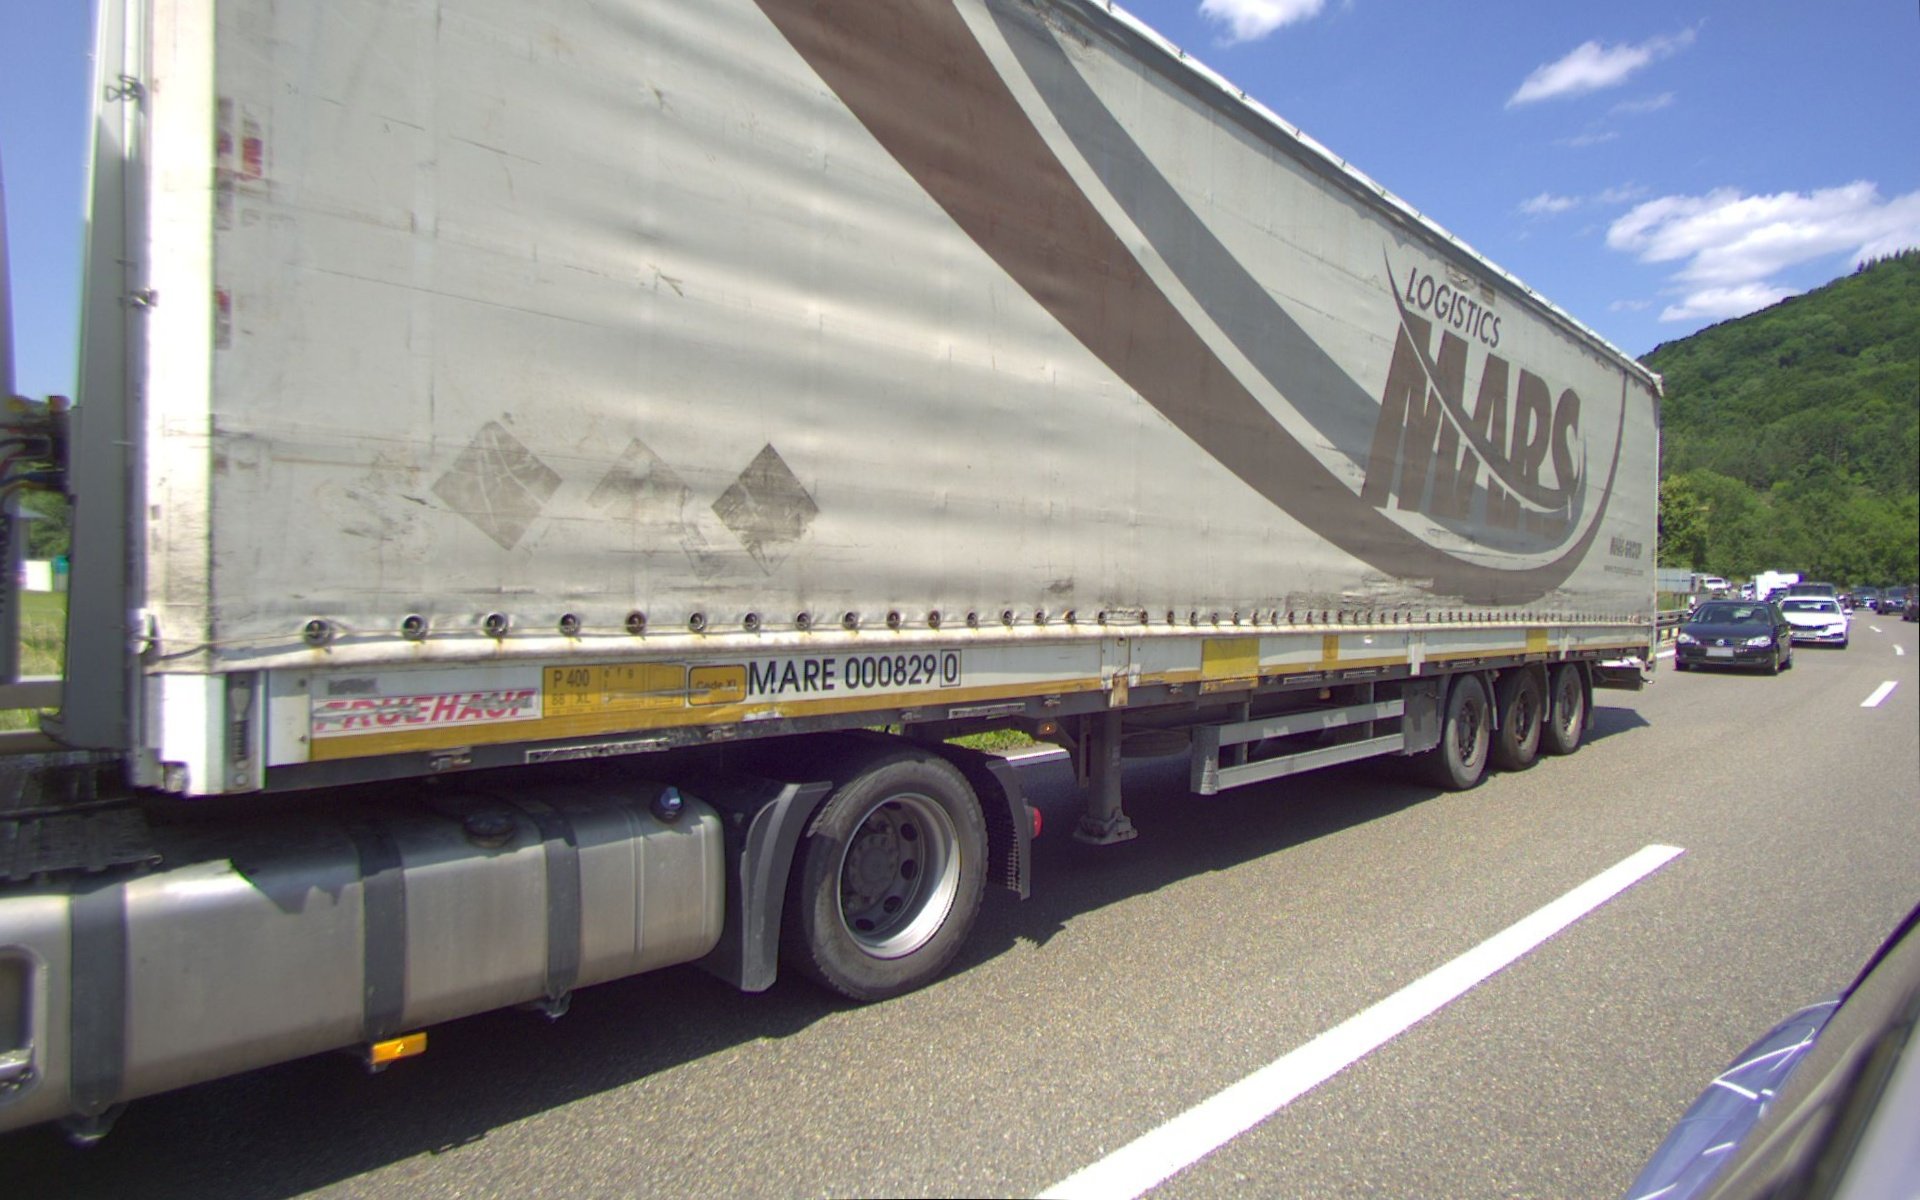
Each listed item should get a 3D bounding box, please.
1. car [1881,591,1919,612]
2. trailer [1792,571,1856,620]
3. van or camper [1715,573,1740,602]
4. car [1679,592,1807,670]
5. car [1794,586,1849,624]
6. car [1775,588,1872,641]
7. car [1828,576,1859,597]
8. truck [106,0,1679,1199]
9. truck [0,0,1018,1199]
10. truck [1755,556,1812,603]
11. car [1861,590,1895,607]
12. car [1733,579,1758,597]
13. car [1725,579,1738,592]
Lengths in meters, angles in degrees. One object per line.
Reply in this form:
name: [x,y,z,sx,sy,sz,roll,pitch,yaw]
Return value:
car: [54.426,0.073,58.645,1.486,1.123,3.167,0,1,41]
trailer: [37.483,-0.256,43.992,1.991,1.994,3.943,2,2,39]
van or camper: [83.994,-1.411,110.764,1.898,3.065,4.815,1,1,34]
car: [16.111,0.574,20.764,1.692,1.440,3.777,1,1,44]
car: [34.985,0.161,41.059,1.485,1.400,3.680,4,3,43]
car: [25.278,0.391,29.588,1.903,1.448,3.662,1,1,45]
car: [72.427,-1.102,83.010,1.522,1.658,3.374,-2,-1,36]
truck: [2.321,-0.767,7.807,13.513,4.118,2.729,-1,1,-44]
truck: [-2.751,-0.687,2.958,5.659,4.118,2.722,-1,1,-44]
truck: [59.253,-1.429,72.943,2.587,3.147,6.771,-2,-1,35]
car: [62.959,-0.138,69.417,1.484,1.123,3.170,0,1,38]
car: [70.073,-1.043,90.288,1.690,1.552,3.631,-2,-1,37]
car: [94.828,-1.761,124.376,1.239,1.497,2.921,-2,-1,37]
